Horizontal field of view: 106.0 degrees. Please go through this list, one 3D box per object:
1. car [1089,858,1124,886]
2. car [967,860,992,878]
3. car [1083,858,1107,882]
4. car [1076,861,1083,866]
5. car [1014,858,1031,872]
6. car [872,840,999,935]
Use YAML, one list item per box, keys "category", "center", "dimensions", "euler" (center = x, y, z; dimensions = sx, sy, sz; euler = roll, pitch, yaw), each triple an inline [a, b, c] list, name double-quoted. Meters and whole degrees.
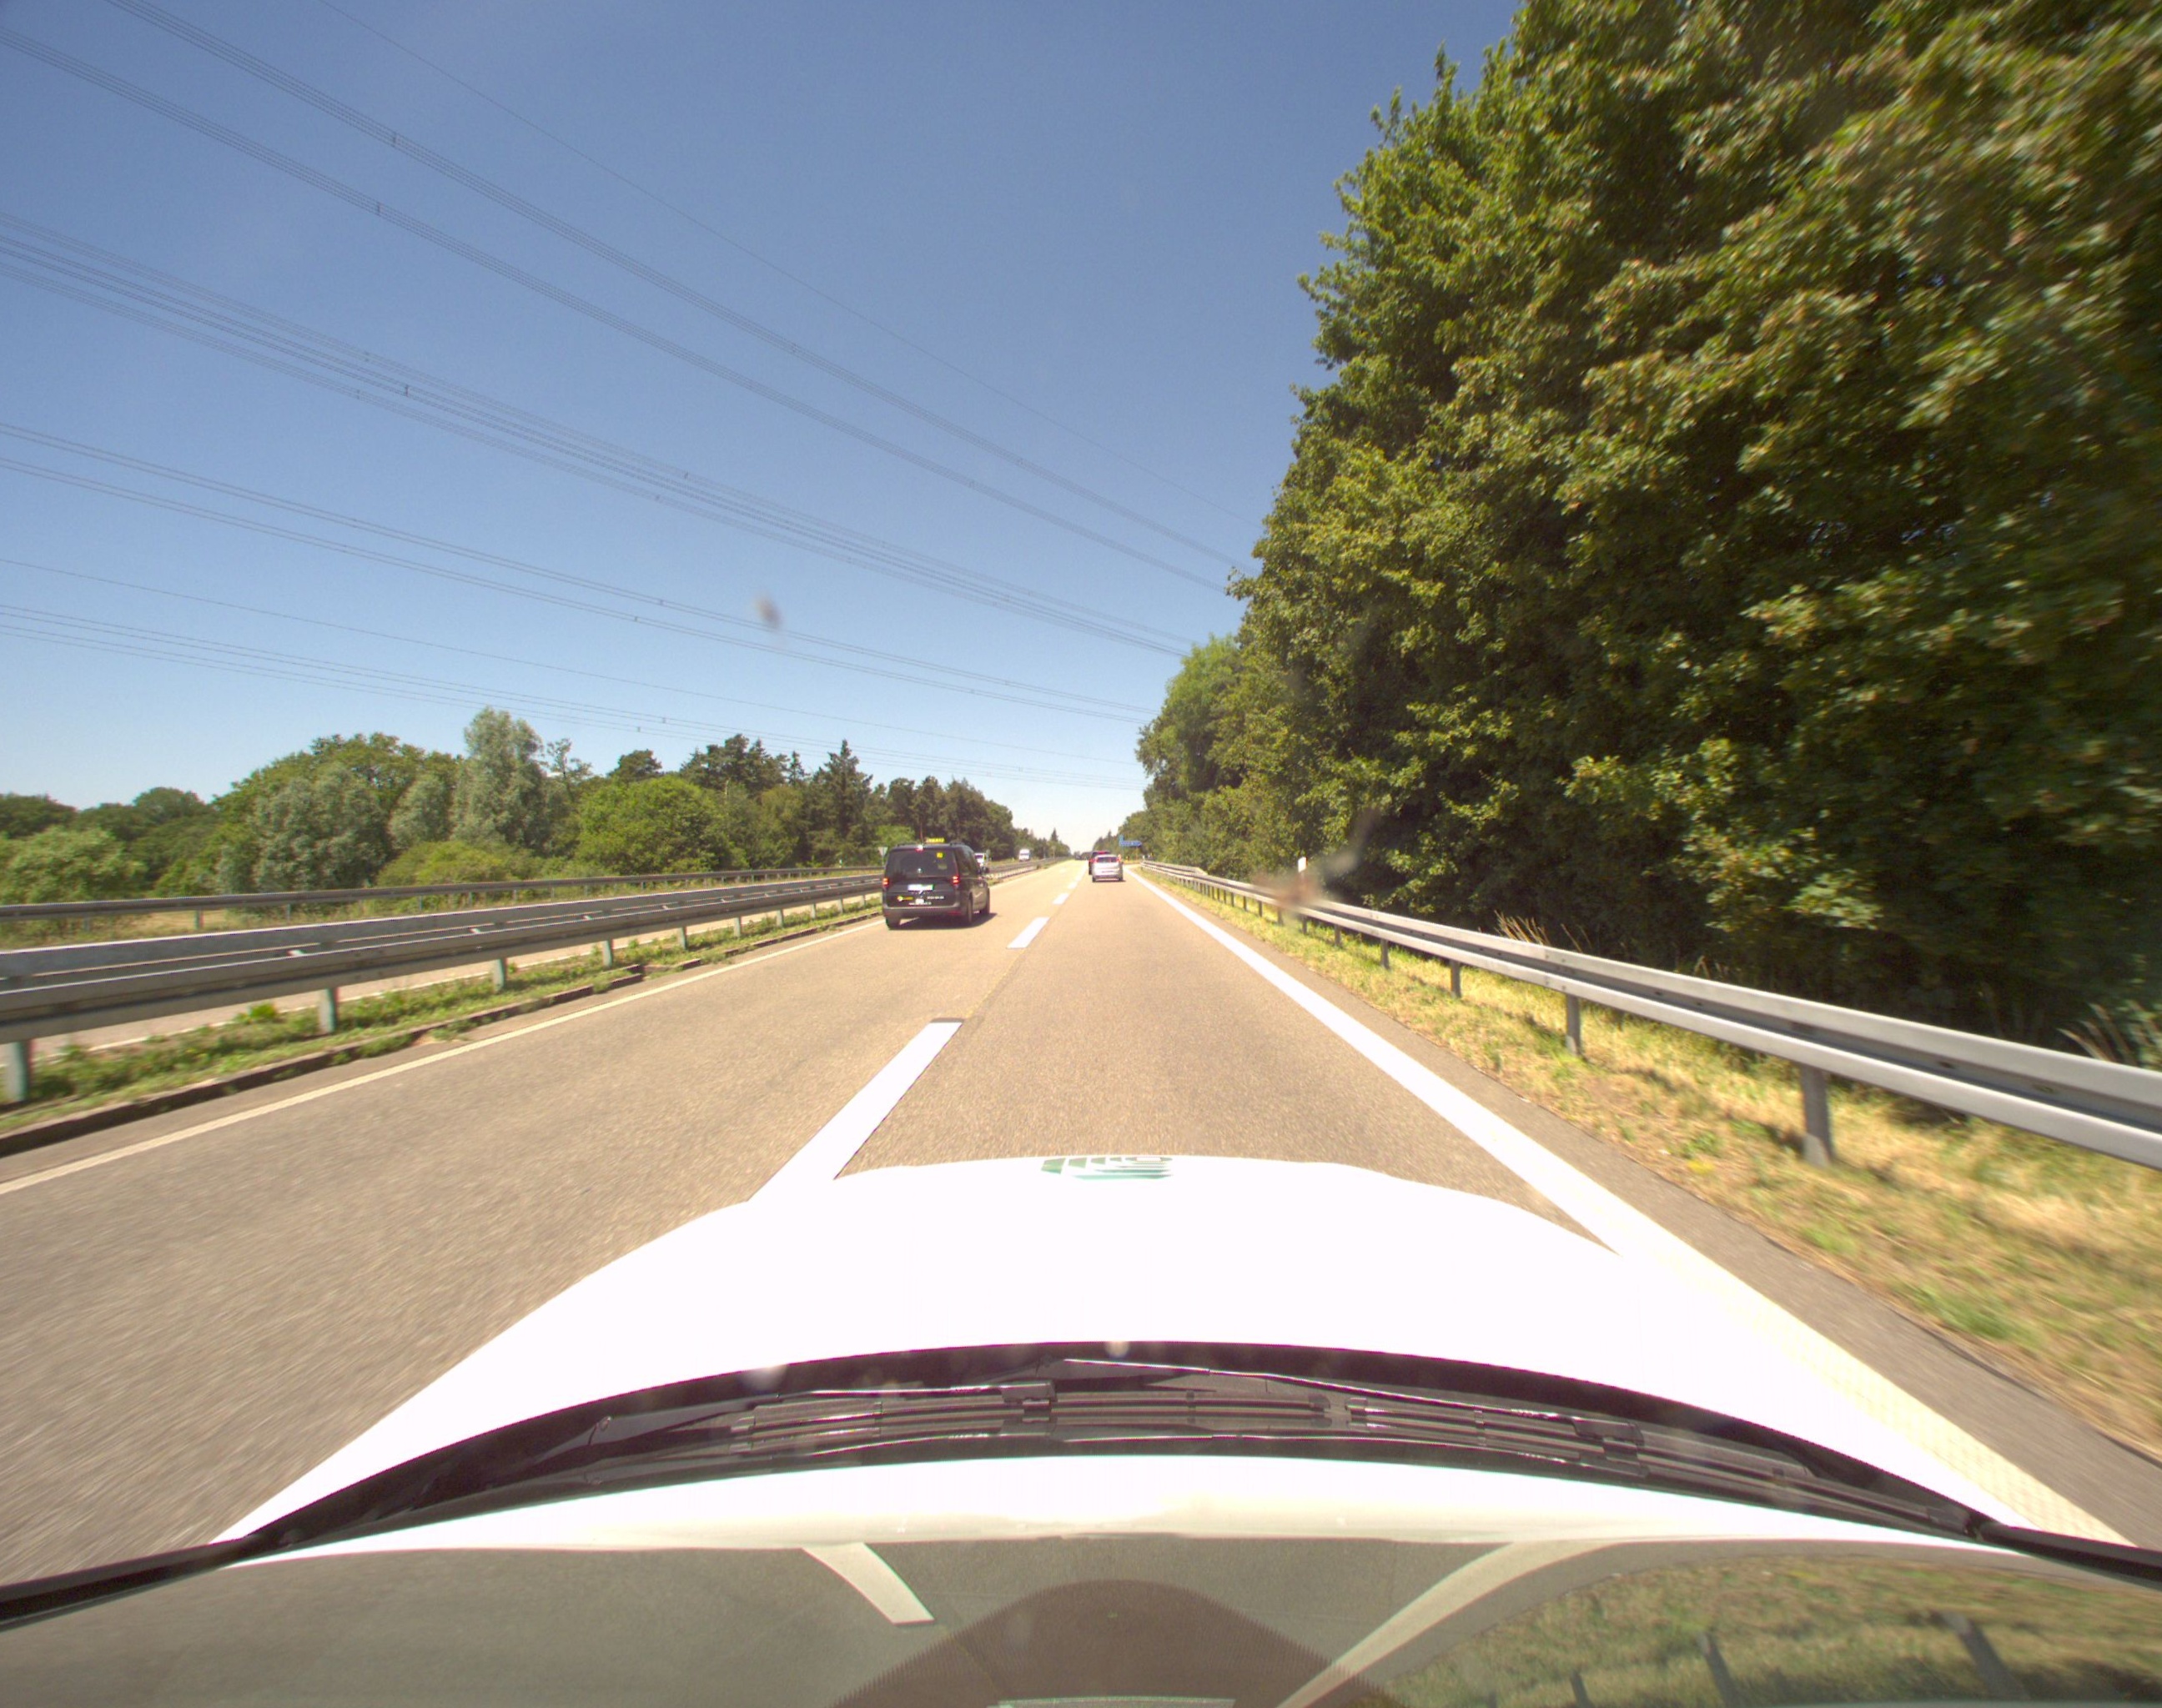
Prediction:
- category: "car"
  center: [1.366, 0.959, 44.606]
  dimensions: [1.636, 1.468, 3.415]
  euler: [1, -1, -3]
- category: "car"
  center: [-11.671, 1.686, 94.094]
  dimensions: [1.884, 1.992, 5.535]
  euler: [-2, -1, 2]
- category: "car"
  center: [1.028, 1.146, 59.828]
  dimensions: [1.634, 1.654, 3.574]
  euler: [1, -1, 1]
- category: "car"
  center: [-0.465, 2.530, 216.438]
  dimensions: [1.706, 1.471, 3.574]
  euler: [1, -1, 1]
- category: "car"
  center: [-11.970, 2.242, 167.033]
  dimensions: [2.515, 2.618, 7.189]
  euler: [-3, -1, 2]
- category: "car"
  center: [-3.241, 0.706, 19.317]
  dimensions: [1.847, 1.887, 5.574]
  euler: [-1, -1, 1]
